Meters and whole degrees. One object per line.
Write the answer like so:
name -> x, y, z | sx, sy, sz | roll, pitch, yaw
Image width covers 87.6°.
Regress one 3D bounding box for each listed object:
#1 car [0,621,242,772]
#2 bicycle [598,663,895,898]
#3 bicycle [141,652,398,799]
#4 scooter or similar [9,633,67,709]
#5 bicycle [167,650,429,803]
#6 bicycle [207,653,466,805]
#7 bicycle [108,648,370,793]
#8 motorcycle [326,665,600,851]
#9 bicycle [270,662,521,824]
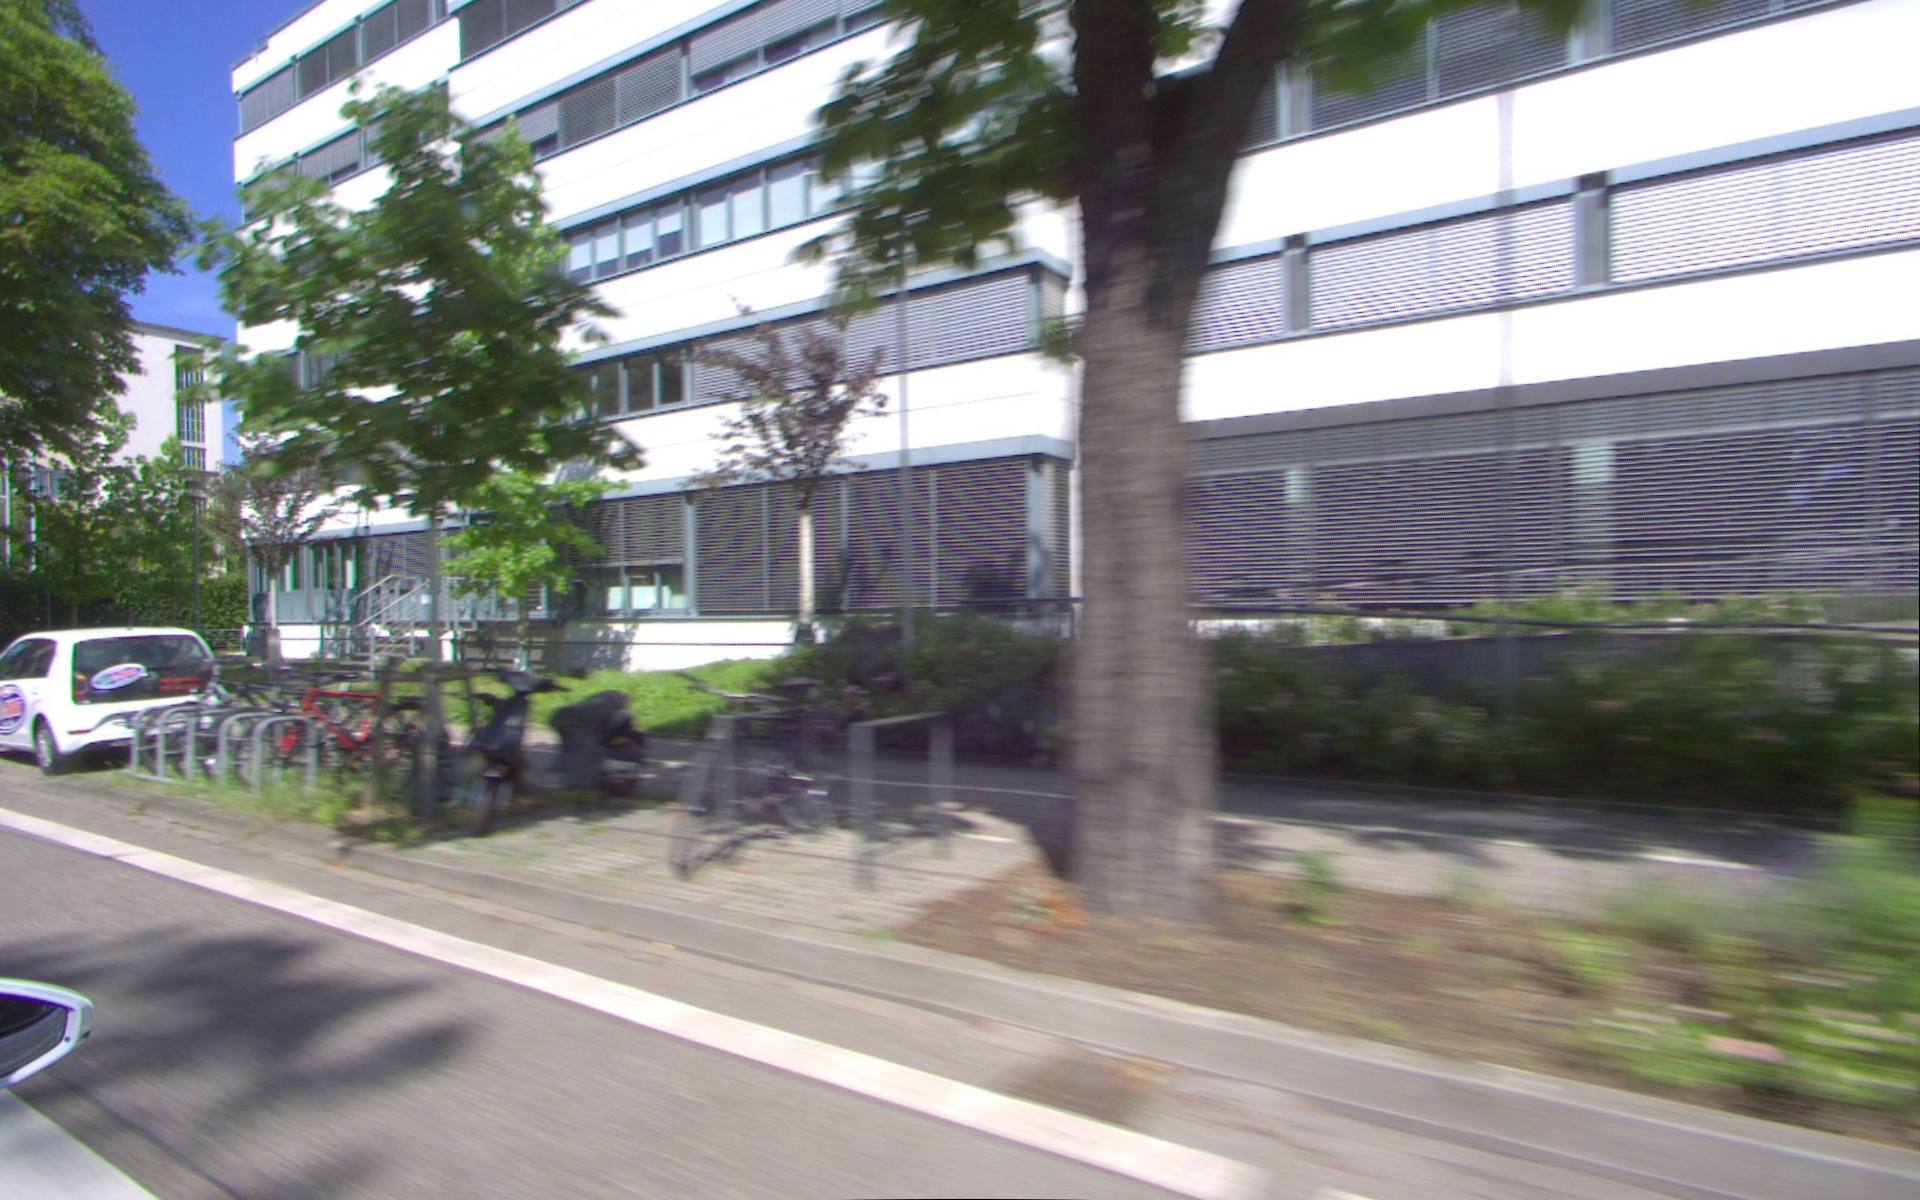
car -> -10.076, 1.017, 11.651 | 3.580, 1.491, 1.626 | -1, -1, 33
bicycle -> -1.211, 0.978, 6.042 | 0.778, 1.100, 1.721 | -1, 0, 31
bicycle -> -6.393, 1.105, 9.386 | 0.676, 1.156, 1.869 | -1, 0, 31
scooter or similar -> -14.860, 1.127, 16.130 | 1.141, 1.189, 0.400 | -1, 0, 33
bicycle -> -5.857, 1.062, 8.981 | 0.670, 1.147, 1.845 | -1, 0, 31
bicycle -> -5.378, 1.061, 8.764 | 0.716, 1.100, 1.789 | -1, 0, 31
bicycle -> -6.929, 1.096, 9.732 | 0.807, 1.185, 1.900 | -1, 0, 31
motorcycle -> -3.584, 1.082, 7.376 | 0.649, 1.100, 1.721 | -1, 0, 31
bicycle -> -4.622, 1.118, 8.326 | 0.630, 1.100, 1.721 | -1, 0, 31
